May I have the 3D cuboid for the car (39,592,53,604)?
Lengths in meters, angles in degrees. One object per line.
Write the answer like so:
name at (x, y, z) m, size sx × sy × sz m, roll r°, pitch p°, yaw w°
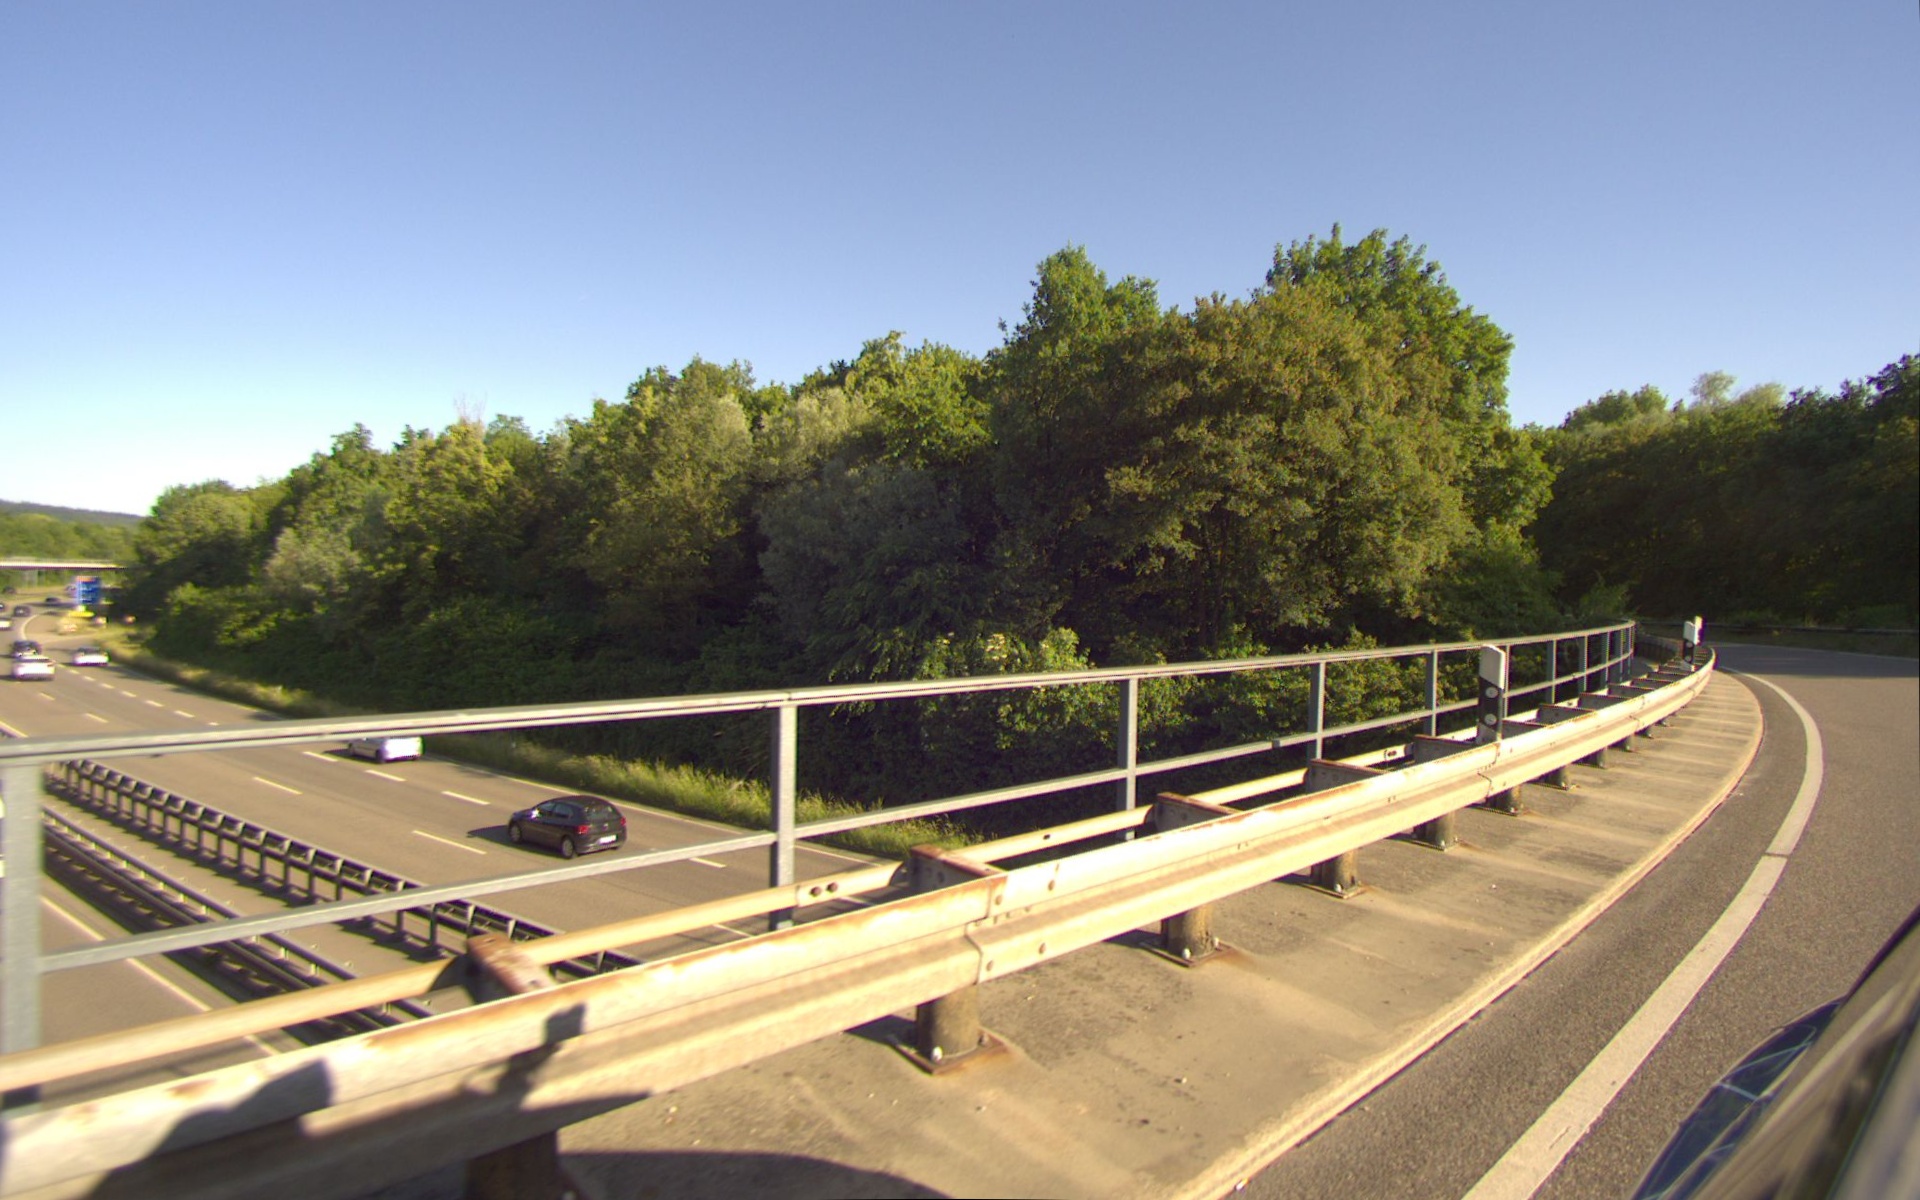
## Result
car at (-155.885, -0.342, 172.638) m, size 1.730 × 1.861 × 3.991 m, roll 1°, pitch 1°, yaw -43°

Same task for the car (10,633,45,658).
car at (-75.007, 3.634, 81.393) m, size 3.985 × 1.861 × 1.733 m, roll 1°, pitch -1°, yaw 42°

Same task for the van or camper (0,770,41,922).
van or camper at (-24.073, 5.553, 23.864) m, size 6.790 × 2.679 × 2.191 m, roll 3°, pitch -1°, yaw 37°

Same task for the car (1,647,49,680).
car at (-60.954, 4.092, 65.961) m, size 3.822 × 1.861 × 1.862 m, roll 3°, pitch 0°, yaw 42°

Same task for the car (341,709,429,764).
car at (-24.057, 5.636, 42.279) m, size 3.847 × 1.683 × 1.720 m, roll 3°, pitch 0°, yaw 36°

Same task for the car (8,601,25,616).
car at (-129.625, 1.186, 139.037) m, size 1.730 × 1.861 × 3.991 m, roll 1°, pitch 1°, yaw -43°

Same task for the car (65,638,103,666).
car at (-66.758, 3.938, 77.094) m, size 3.862 × 1.861 × 1.733 m, roll 1°, pitch -1°, yaw 42°

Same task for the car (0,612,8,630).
car at (-106.685, 2.264, 111.897) m, size 3.985 × 1.861 × 1.733 m, roll 1°, pitch -1°, yaw 42°
